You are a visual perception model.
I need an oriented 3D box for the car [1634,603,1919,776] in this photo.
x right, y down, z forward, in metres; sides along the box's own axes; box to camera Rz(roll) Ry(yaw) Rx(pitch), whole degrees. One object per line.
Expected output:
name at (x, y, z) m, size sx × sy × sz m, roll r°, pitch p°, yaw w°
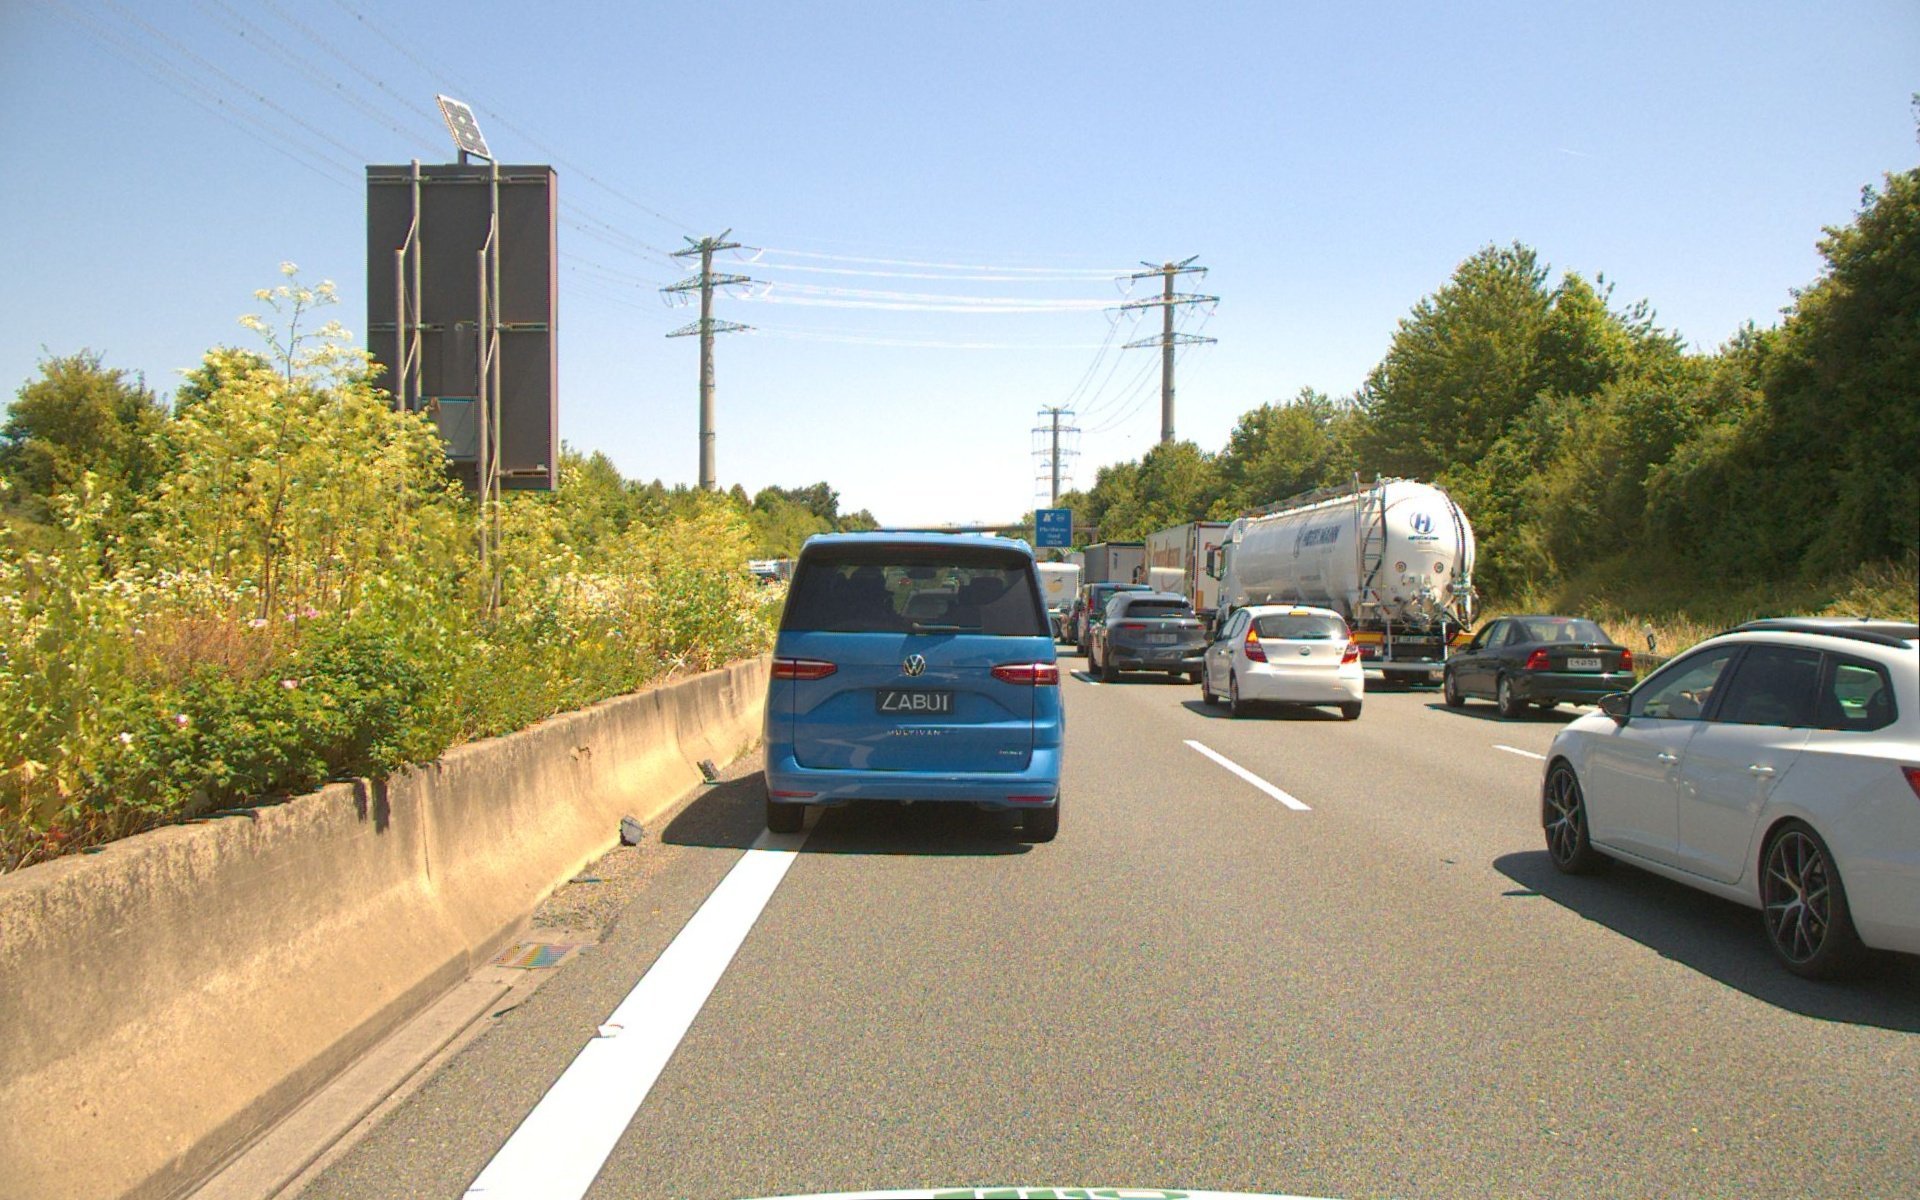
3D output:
car at (8.438, 0.794, 16.563) m, size 1.695 × 1.468 × 4.028 m, roll 0°, pitch 0°, yaw -1°

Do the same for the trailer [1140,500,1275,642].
trailer at (8.614, -0.924, 59.275) m, size 2.853 × 4.547 × 12.151 m, roll 0°, pitch 0°, yaw -1°

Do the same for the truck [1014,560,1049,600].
truck at (8.433, -2.291, 196.304) m, size 3.494 × 4.596 × 10.291 m, roll 0°, pitch 0°, yaw -1°

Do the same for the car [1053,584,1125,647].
car at (4.209, 0.509, 54.650) m, size 1.885 × 1.959 × 4.234 m, roll -1°, pitch -1°, yaw -2°

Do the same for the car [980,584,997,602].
car at (3.388, -0.841, 199.476) m, size 1.953 × 2.163 × 3.999 m, roll 0°, pitch 0°, yaw -1°

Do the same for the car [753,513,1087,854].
car at (-0.240, 0.473, 11.536) m, size 1.881 × 1.919 × 4.000 m, roll 1°, pitch 0°, yaw 0°

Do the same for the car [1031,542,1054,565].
car at (7.604, -4.288, 153.197) m, size 1.953 × 2.049 × 4.000 m, roll 0°, pitch 0°, yaw 0°

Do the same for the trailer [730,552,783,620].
trailer at (-15.737, -1.055, 128.429) m, size 3.254 × 5.136 × 6.703 m, roll 0°, pitch 0°, yaw 0°

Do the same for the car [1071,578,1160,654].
car at (4.213, 0.449, 45.497) m, size 1.885 × 1.959 × 4.234 m, roll -1°, pitch -1°, yaw -2°

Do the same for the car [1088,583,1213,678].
car at (3.682, 0.595, 32.689) m, size 1.958 × 1.745 × 4.625 m, roll 0°, pitch -1°, yaw 0°

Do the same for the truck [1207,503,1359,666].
truck at (8.160, -0.371, 42.467) m, size 2.736 × 3.904 × 5.571 m, roll 0°, pitch 0°, yaw -1°

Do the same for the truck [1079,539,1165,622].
truck at (8.123, -0.854, 84.905) m, size 2.944 × 3.832 × 15.712 m, roll 0°, pitch 0°, yaw 0°

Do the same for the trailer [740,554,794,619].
trailer at (-15.748, -1.007, 135.467) m, size 3.254 × 5.136 × 9.590 m, roll 0°, pitch 0°, yaw 0°

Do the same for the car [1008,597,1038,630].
car at (4.005, 0.885, 105.296) m, size 1.798 × 2.033 × 4.000 m, roll -1°, pitch -1°, yaw 1°

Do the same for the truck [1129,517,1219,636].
truck at (8.522, -0.904, 66.287) m, size 2.853 × 4.547 × 5.141 m, roll 0°, pitch 0°, yaw -1°

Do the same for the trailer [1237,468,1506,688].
trailer at (8.293, -0.381, 35.205) m, size 2.705 × 3.912 × 11.483 m, roll 0°, pitch 0°, yaw -1°

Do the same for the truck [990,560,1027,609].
truck at (3.903, -1.210, 134.818) m, size 2.836 × 3.832 × 10.140 m, roll 0°, pitch 0°, yaw 0°

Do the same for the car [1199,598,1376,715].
car at (4.544, 0.760, 23.504) m, size 1.779 × 1.511 × 4.000 m, roll 0°, pitch -1°, yaw 1°

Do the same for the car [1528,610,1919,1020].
car at (4.300, 0.794, 7.883) m, size 1.712 × 1.468 × 4.313 m, roll 0°, pitch -1°, yaw 0°

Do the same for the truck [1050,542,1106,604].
truck at (7.814, -1.715, 111.042) m, size 2.836 × 3.832 × 13.344 m, roll 0°, pitch 0°, yaw 0°

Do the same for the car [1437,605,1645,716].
car at (8.303, 0.833, 24.004) m, size 1.607 × 1.441 × 3.988 m, roll -1°, pitch -1°, yaw 0°

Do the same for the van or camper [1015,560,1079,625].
van or camper at (4.265, -0.332, 82.217) m, size 2.896 × 3.075 × 7.103 m, roll 0°, pitch 0°, yaw 1°
